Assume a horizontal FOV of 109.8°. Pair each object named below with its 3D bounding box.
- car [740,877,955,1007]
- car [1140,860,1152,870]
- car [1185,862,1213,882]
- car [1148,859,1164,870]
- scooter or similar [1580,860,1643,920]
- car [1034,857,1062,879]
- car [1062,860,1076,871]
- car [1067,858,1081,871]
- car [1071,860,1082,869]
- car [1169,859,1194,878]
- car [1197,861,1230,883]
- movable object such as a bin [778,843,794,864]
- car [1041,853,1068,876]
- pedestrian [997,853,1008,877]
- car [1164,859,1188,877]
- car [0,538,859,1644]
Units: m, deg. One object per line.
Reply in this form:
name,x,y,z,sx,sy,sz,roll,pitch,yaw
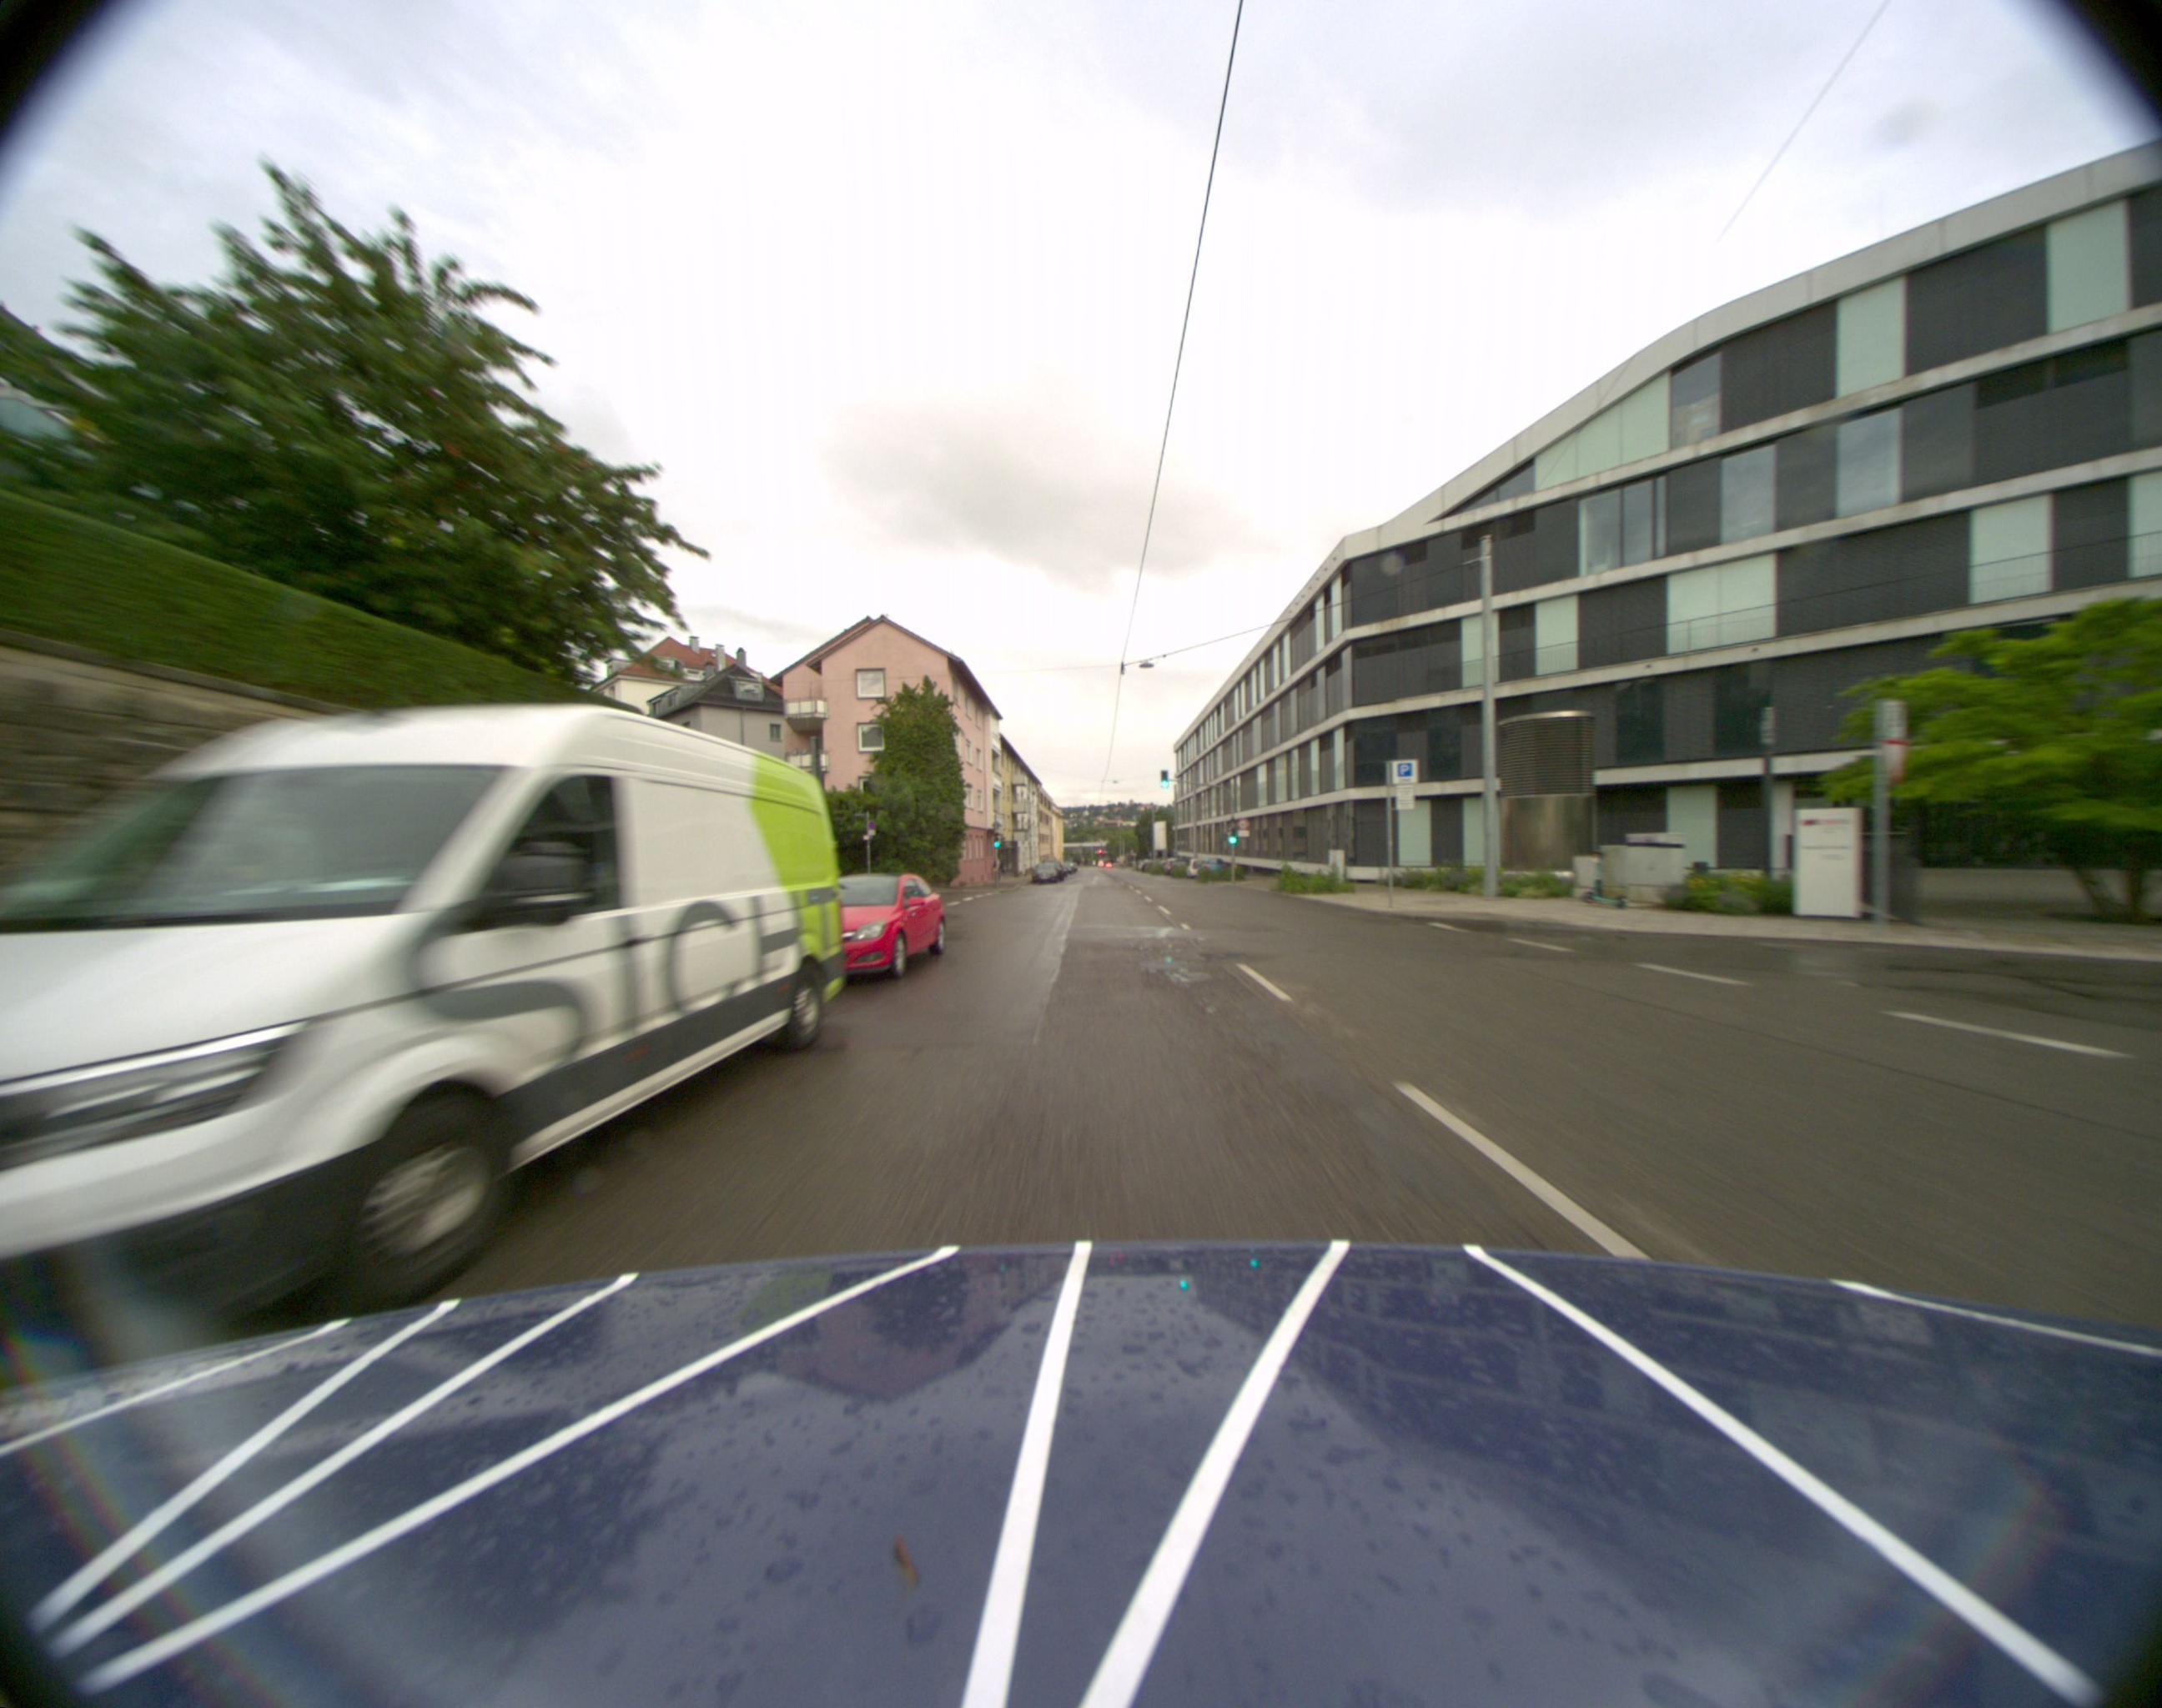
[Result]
car,-3.197,1.135,11.356,1.725,1.412,4.204,-3,0,2
car,9.886,1.671,115.852,1.642,1.576,4.042,-2,-1,1
car,8.950,1.345,57.737,1.641,1.458,3.584,-1,0,2
car,9.835,1.361,99.688,1.642,1.463,4.042,-2,-1,1
scooter or similar,11.537,0.757,16.559,0.497,1.241,1.232,-2,0,2
car,-2.409,1.020,56.848,1.796,1.510,4.513,-1,-1,1
car,-1.625,1.600,102.830,1.630,1.402,3.778,-2,-1,1
car,-1.103,1.550,116.382,1.911,1.865,4.751,-2,-1,1
car,-0.822,1.894,132.146,1.798,1.501,4.001,-2,-1,1
car,9.087,1.255,68.989,1.887,1.580,4.364,-3,-1,3
car,9.155,1.218,52.668,1.641,1.458,3.584,-1,0,-1
movable object such as a bin,-17.084,-0.026,44.019,0.758,1.151,0.749,0,3,-9
car,-2.170,0.848,62.710,1.968,1.763,4.513,2,-1,1
pedestrian,-5.838,0.848,56.721,0.715,1.763,0.748,2,0,1
car,9.271,1.364,74.502,1.835,1.580,4.363,-3,-1,1
car,-3.454,0.571,4.599,2.211,2.449,6.080,-3,0,1
